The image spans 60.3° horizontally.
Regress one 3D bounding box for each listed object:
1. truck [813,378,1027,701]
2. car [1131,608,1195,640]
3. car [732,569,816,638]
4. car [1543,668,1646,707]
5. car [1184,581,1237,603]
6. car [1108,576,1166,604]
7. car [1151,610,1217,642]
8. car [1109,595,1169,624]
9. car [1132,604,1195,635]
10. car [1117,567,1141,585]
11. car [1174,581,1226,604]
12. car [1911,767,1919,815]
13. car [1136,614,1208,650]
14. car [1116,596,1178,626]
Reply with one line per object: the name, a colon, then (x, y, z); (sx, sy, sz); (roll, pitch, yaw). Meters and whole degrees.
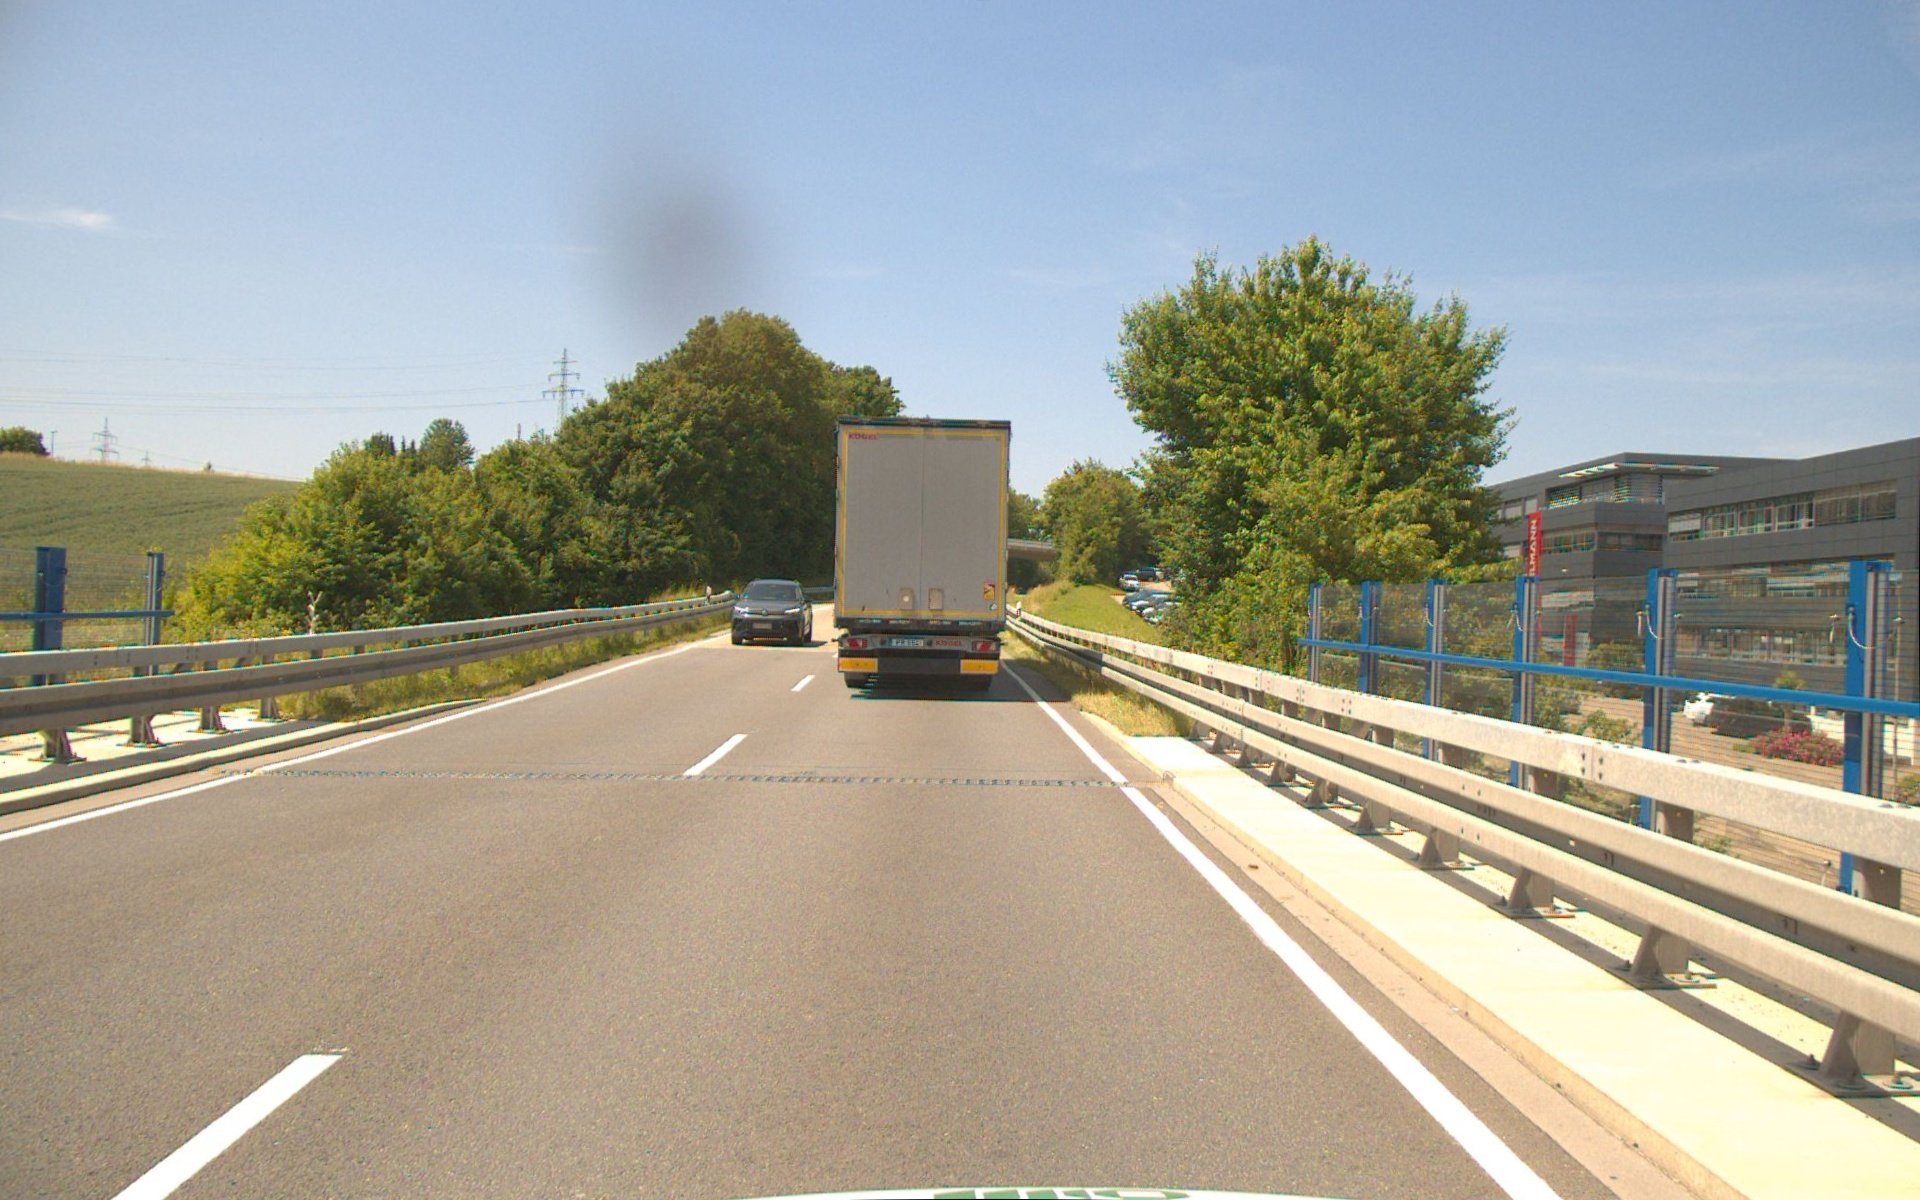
truck: (-0.664, -0.964, 28.350); (2.808, 4.434, 9.787); (3, 1, -1)
car: (14.602, 1.733, 118.936); (4.328, 1.713, 1.866); (5, 4, -36)
car: (-4.765, 0.068, 42.969); (1.828, 1.639, 4.371); (2, 0, -2)
car: (32.145, 4.441, 83.863); (4.481, 1.599, 1.820); (2, 4, -4)
car: (23.602, -0.758, 155.761); (4.481, 1.656, 1.820); (6, 3, 22)
car: (14.406, -0.811, 134.643); (4.313, 1.713, 1.873); (6, 4, -28)
car: (15.618, 1.828, 115.322); (4.328, 1.713, 1.866); (5, 4, -36)
car: (14.280, 0.749, 131.702); (4.313, 1.713, 1.873); (6, 4, -28)
car: (14.951, 1.441, 121.313); (4.328, 1.713, 1.866); (5, 4, -36)
car: (16.370, -2.318, 160.355); (1.593, 1.375, 3.710); (7, 3, -3)
car: (22.946, -0.711, 158.206); (4.482, 1.656, 1.820); (7, 3, 22)
car: (36.189, 6.940, 58.054); (4.480, 1.599, 1.821); (3, 3, -2)
car: (14.194, 2.143, 110.693); (4.301, 1.713, 1.878); (6, 3, -21)
car: (14.589, 0.874, 129.067); (4.313, 1.713, 1.873); (6, 4, -28)
